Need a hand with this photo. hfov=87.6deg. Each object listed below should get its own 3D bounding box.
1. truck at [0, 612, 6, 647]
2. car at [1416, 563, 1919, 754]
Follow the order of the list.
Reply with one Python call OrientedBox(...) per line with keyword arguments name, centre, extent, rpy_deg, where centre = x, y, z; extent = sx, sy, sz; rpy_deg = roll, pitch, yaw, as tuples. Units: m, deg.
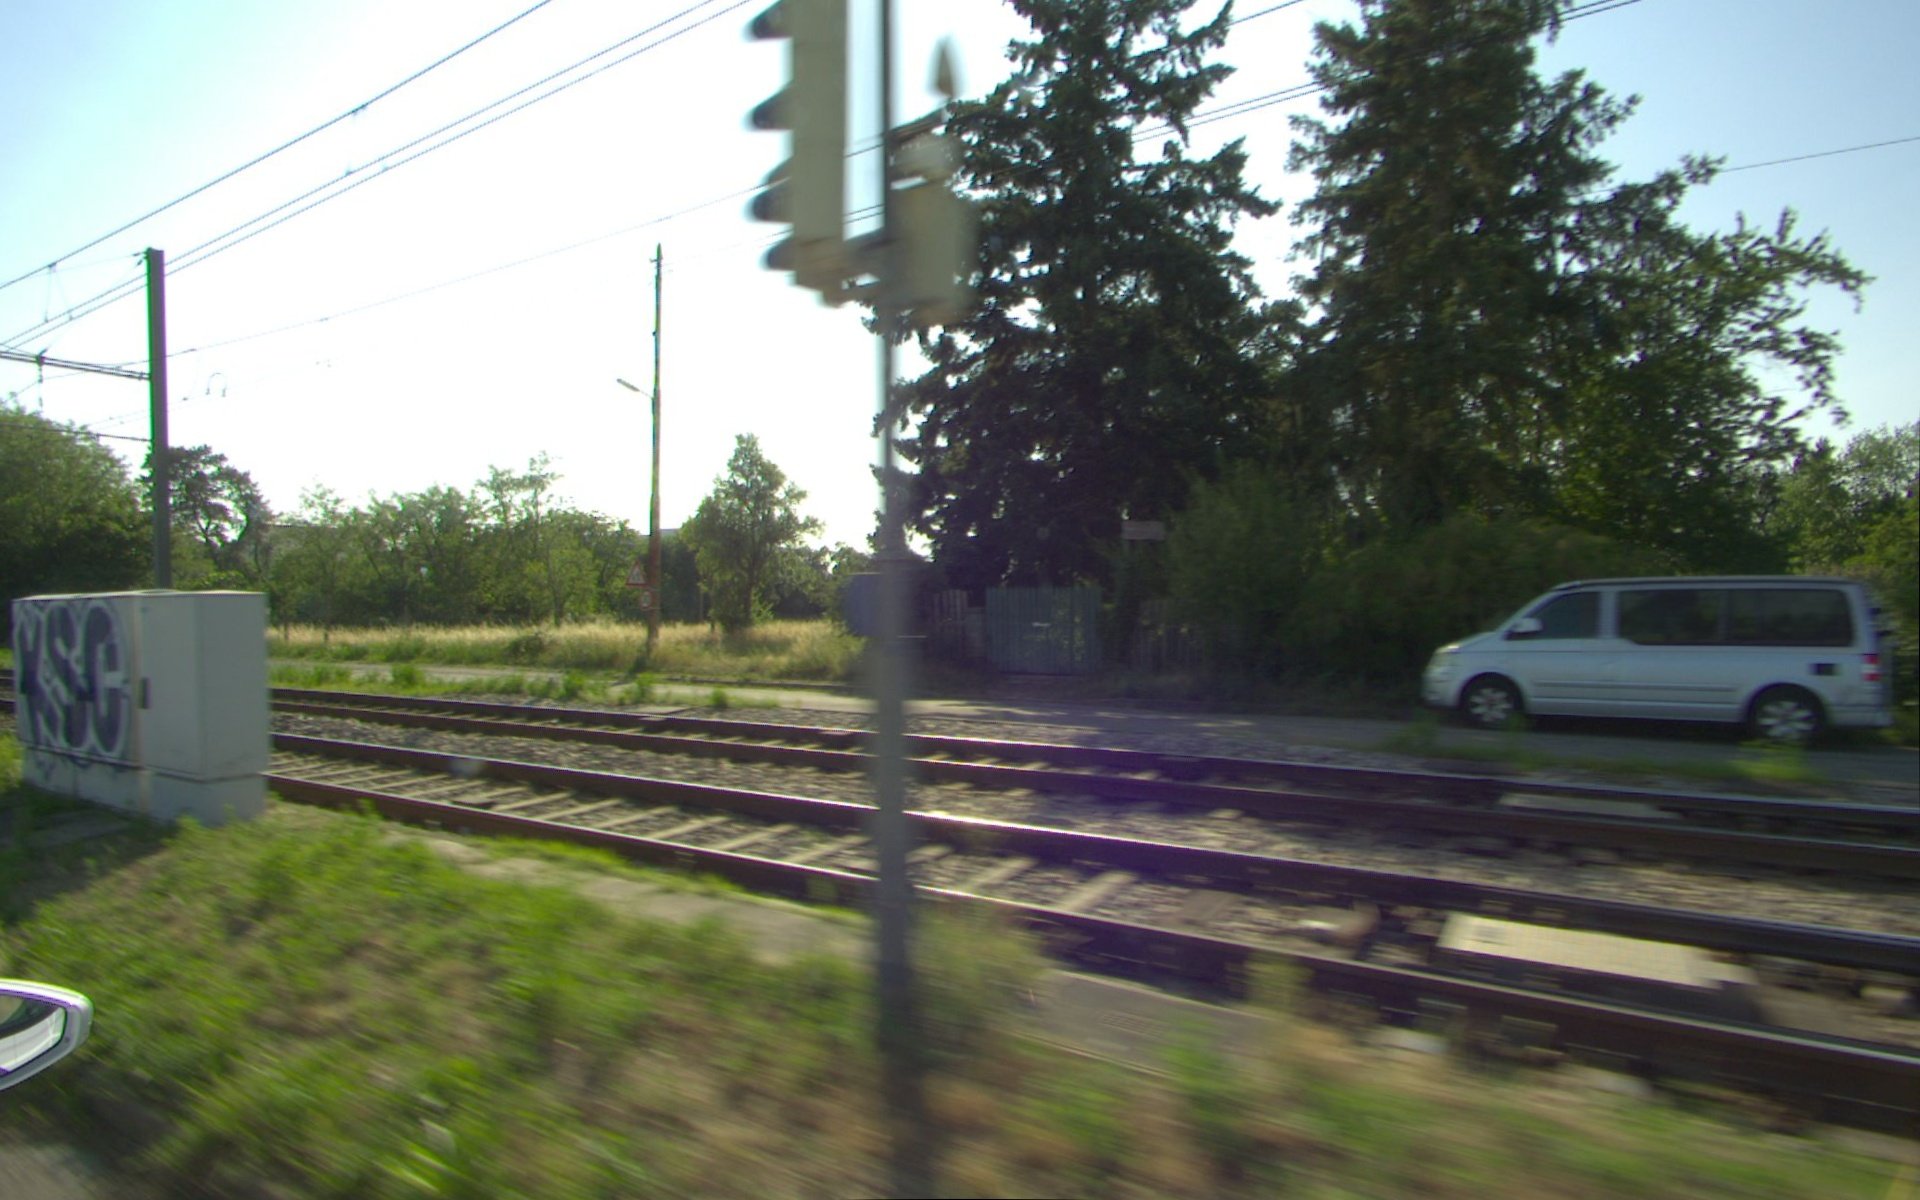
OrientedBox(name="truck", centre=(-53.551, 1.578, 53.655), extent=(5.845, 1.842, 2.200), rpy_deg=(-1, -1, 33))
OrientedBox(name="car", centre=(8.693, 0.705, 12.806), extent=(4.994, 2.029, 1.991), rpy_deg=(-1, -3, 32))
